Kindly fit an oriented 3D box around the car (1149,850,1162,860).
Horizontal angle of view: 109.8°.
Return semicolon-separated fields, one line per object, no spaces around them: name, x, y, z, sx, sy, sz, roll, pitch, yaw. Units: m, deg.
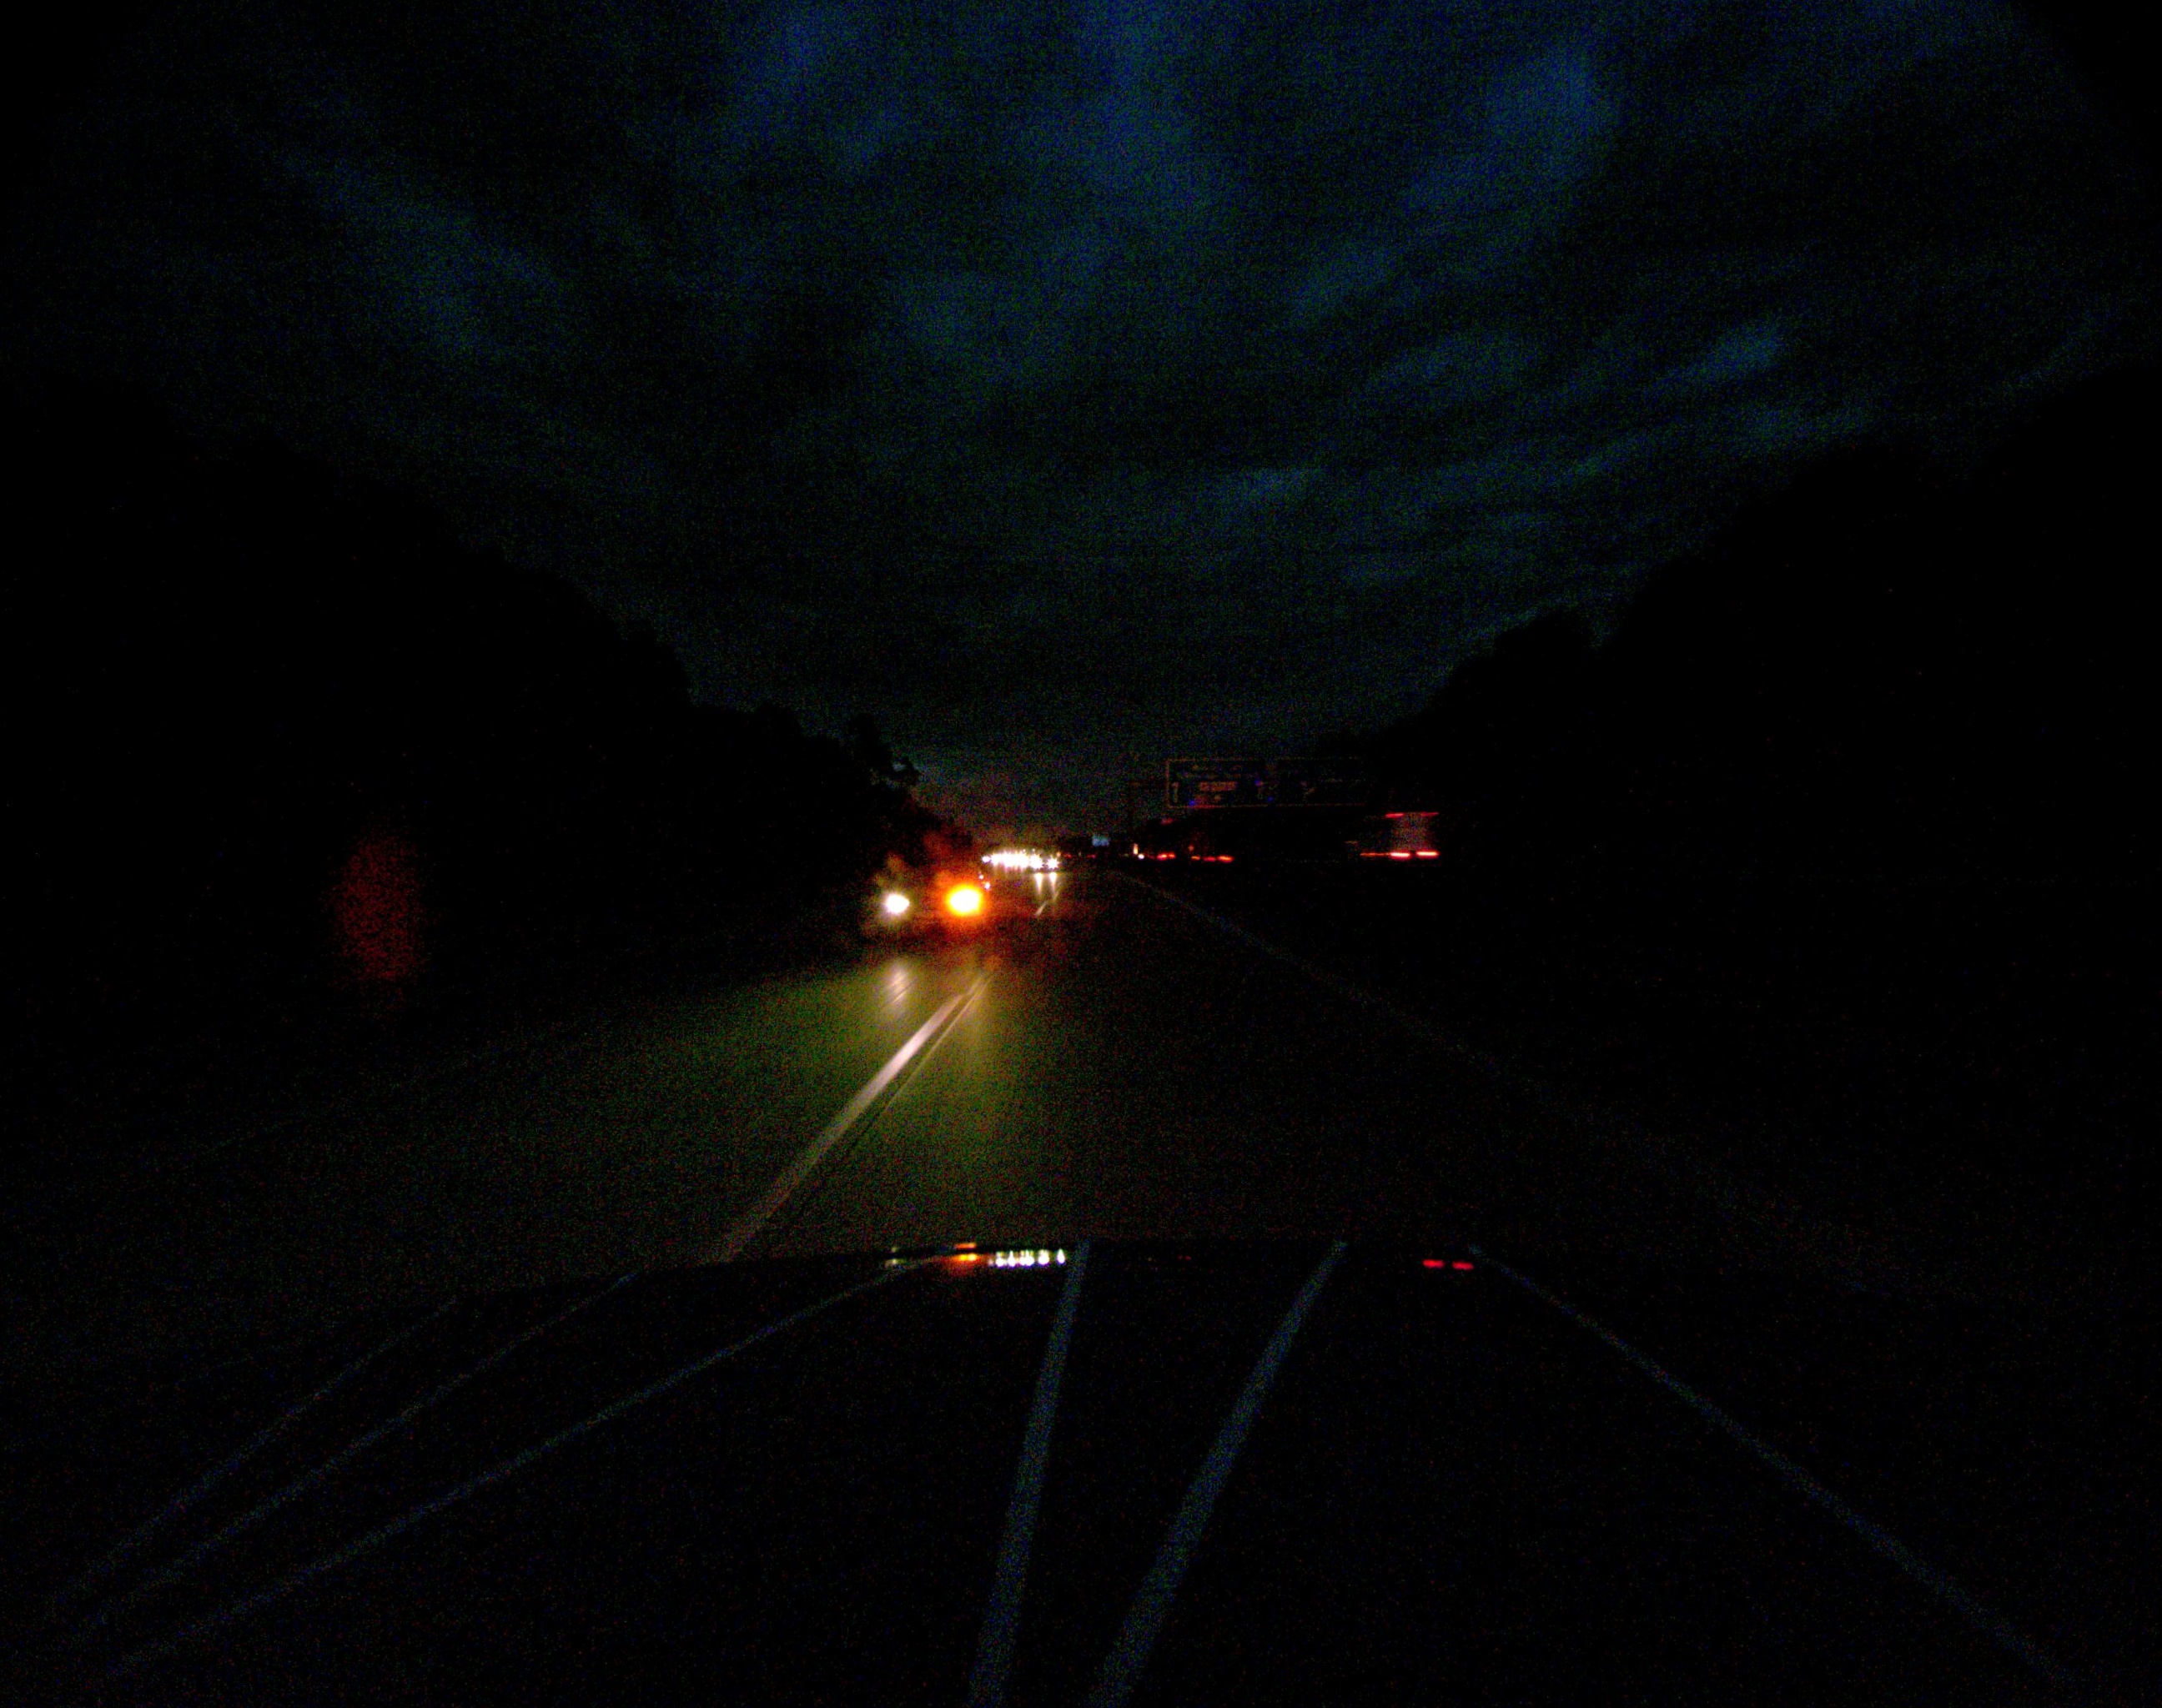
car;15.099;0.191;153.970;1.999;1.787;4.206;-2;0;-1

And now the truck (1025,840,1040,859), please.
truck;-10.905;-0.995;170.838;3.146;3.987;10.541;-2;0;-3

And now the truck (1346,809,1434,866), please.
truck;24.082;-1.180;59.992;2.651;3.987;10.544;-2;0;0

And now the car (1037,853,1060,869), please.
car;-3.162;0.672;74.247;1.998;1.539;4.000;-2;0;0

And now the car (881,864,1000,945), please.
car;-2.931;0.993;16.790;1.880;1.435;4.450;-2;0;-2

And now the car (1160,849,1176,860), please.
car;15.120;0.068;131.975;1.999;1.787;4.372;-2;0;-3

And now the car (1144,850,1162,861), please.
car;9.606;0.156;101.236;1.743;1.402;4.805;-2;0;-3

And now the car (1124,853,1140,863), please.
car;8.069;0.664;120.952;1.999;1.428;4.372;-2;0;-3

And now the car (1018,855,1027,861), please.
car;-14.903;0.945;193.349;1.999;1.539;3.999;-2;0;-3

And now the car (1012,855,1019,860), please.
car;-19.680;0.964;227.383;1.999;1.539;3.999;-2;0;-3

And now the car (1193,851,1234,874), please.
car;9.882;0.613;57.174;1.999;1.591;4.820;-2;0;-3

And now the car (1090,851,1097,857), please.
car;4.007;-0.082;240.451;1.999;1.787;4.206;-2;0;-1
